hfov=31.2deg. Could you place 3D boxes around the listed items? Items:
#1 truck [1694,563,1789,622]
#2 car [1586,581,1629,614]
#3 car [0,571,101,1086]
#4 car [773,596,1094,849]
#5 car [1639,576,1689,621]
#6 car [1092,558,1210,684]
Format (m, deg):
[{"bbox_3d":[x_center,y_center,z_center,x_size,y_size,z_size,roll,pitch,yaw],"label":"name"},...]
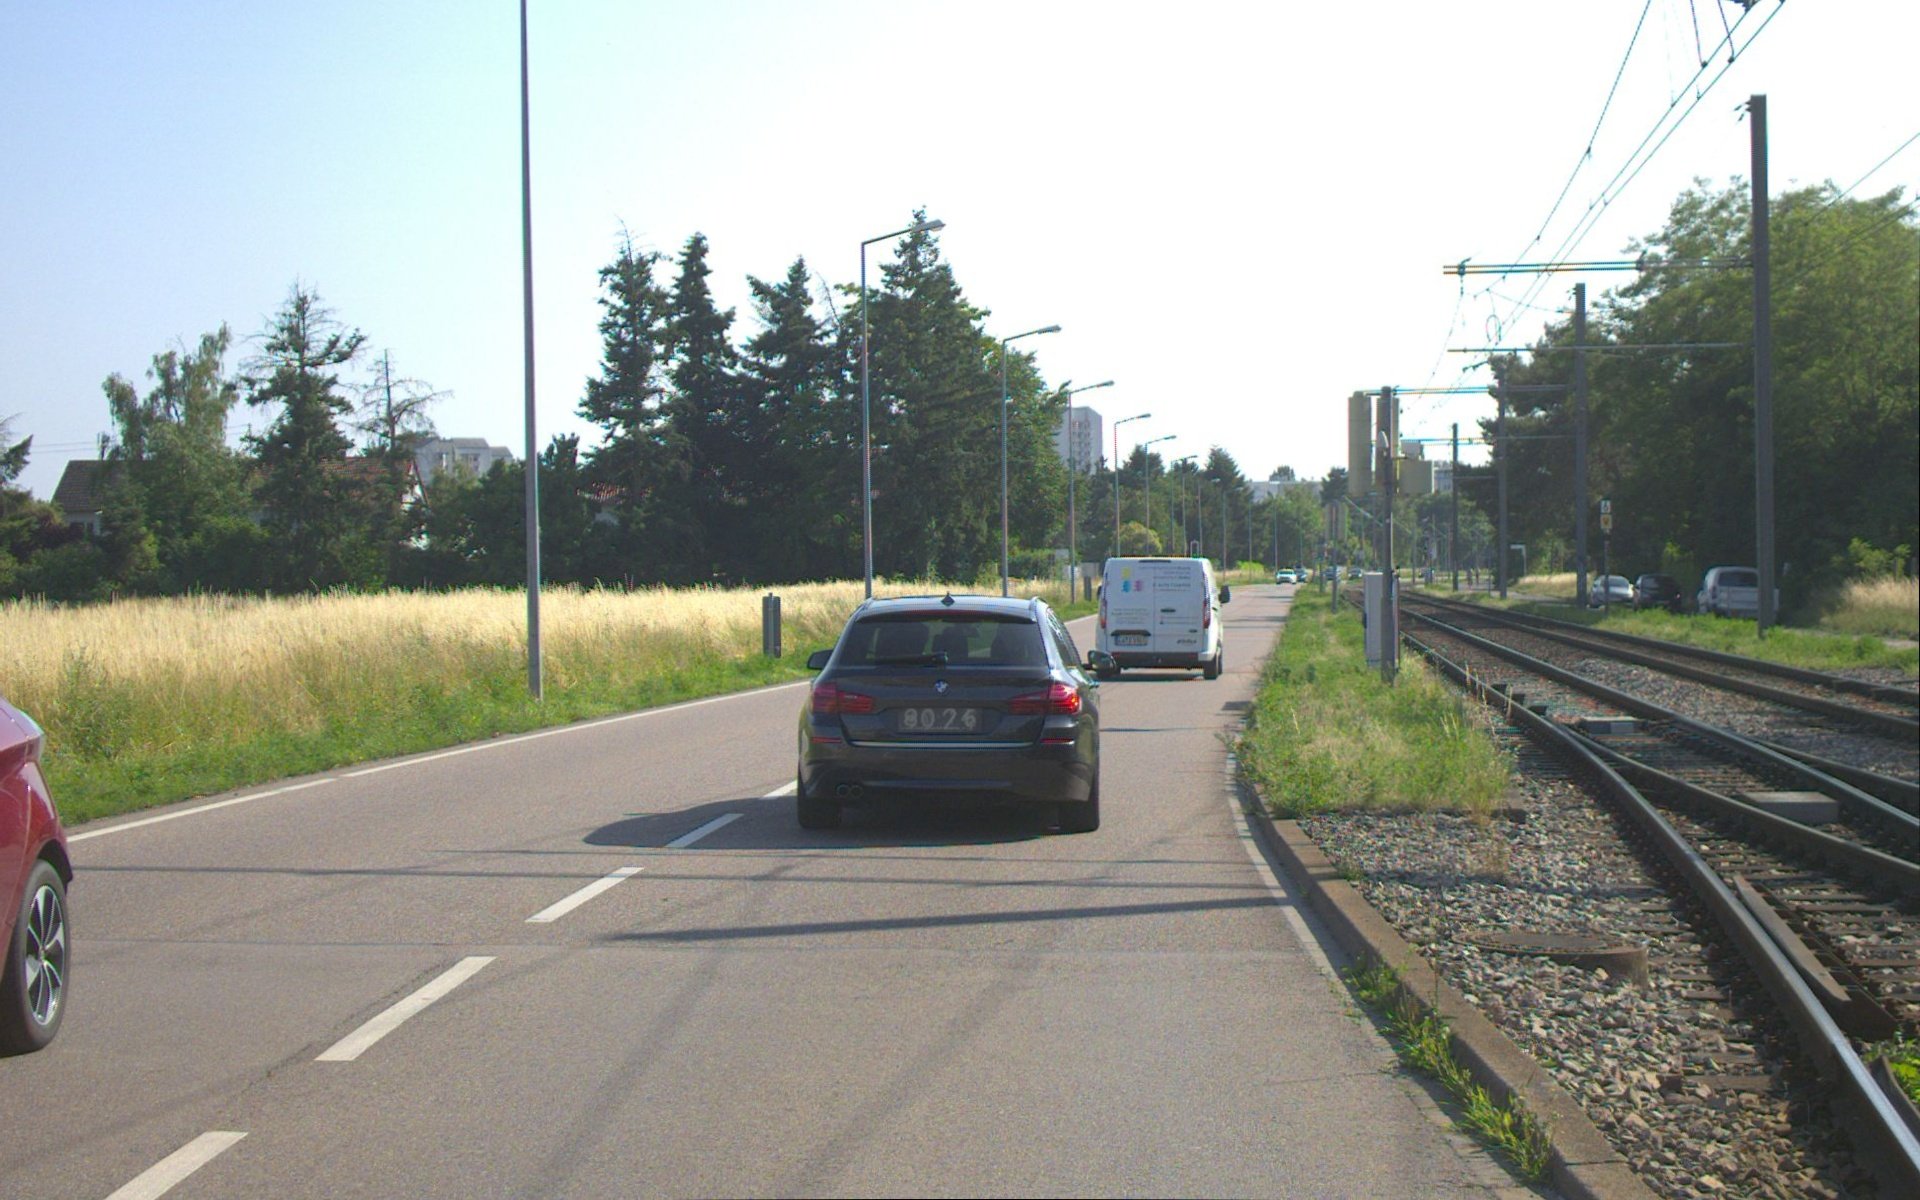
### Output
[{"bbox_3d":[24.871,-0.247,109.652,2.205,1.813,5.928,0,0,5],"label":"truck"},{"bbox_3d":[29.326,-0.125,155.779,1.621,1.394,3.489,1,-1,6],"label":"car"},{"bbox_3d":[-3.738,0.676,9.485,1.712,1.544,3.928,0,0,1],"label":"car"},{"bbox_3d":[-0.119,0.716,22.553,1.869,1.447,4.743,1,0,1],"label":"car"},{"bbox_3d":[28.142,-0.047,137.576,1.735,1.674,3.542,1,-1,8],"label":"car"},{"bbox_3d":[3.141,0.304,57.275,1.857,1.981,5.108,1,1,2],"label":"car"}]
